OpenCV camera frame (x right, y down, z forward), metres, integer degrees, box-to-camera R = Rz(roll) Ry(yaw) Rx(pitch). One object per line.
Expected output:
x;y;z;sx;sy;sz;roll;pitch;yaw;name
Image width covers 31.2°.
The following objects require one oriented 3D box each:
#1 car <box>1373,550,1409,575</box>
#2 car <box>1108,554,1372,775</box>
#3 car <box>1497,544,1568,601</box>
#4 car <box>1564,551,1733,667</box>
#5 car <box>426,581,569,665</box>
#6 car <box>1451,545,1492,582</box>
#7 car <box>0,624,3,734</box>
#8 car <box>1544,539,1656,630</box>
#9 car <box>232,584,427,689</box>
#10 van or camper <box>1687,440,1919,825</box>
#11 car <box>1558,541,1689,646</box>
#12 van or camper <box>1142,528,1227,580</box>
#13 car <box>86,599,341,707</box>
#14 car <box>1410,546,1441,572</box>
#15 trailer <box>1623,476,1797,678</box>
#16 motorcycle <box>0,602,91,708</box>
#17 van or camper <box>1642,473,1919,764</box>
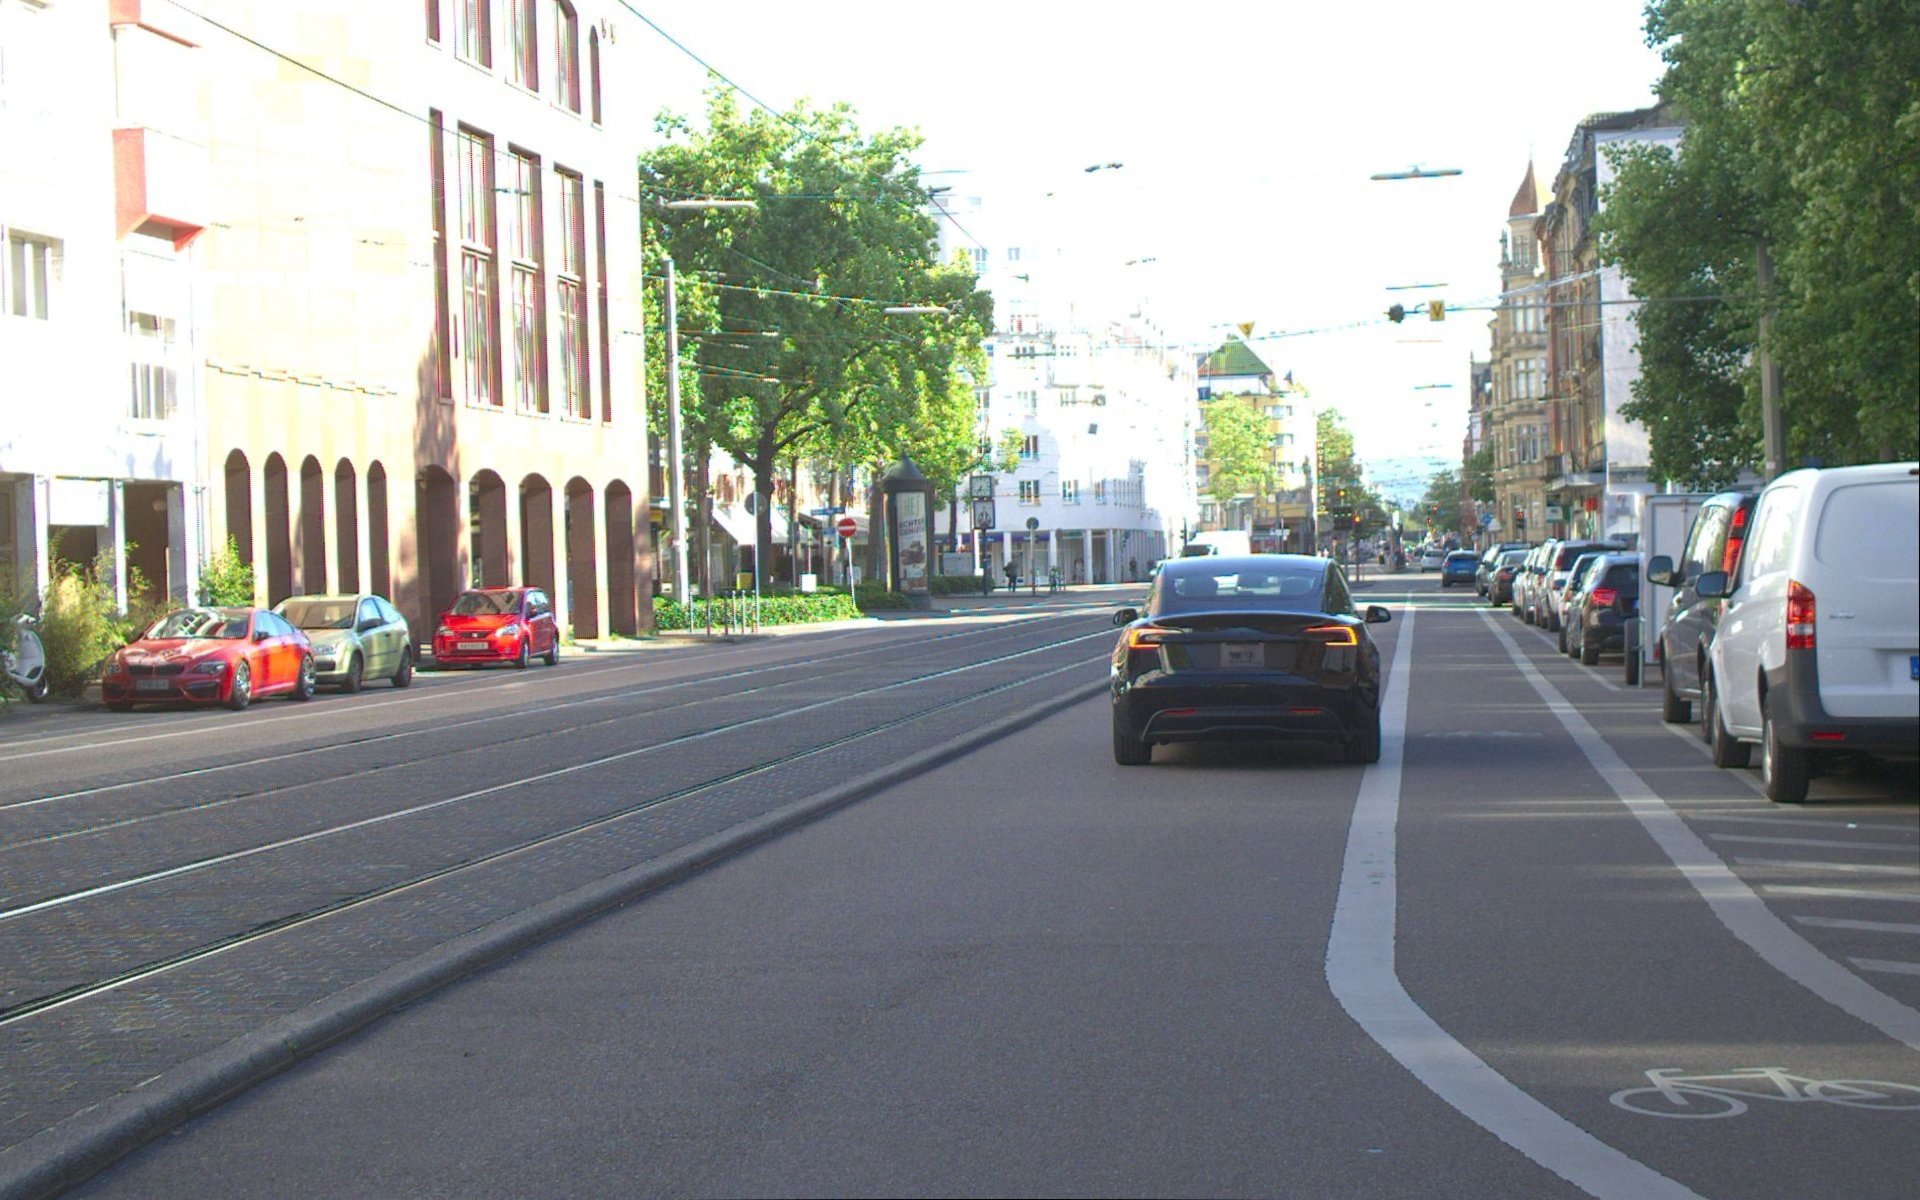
26.976;-2.347;215.199;1.994;1.520;4.000;-2;1;4;car
2.048;0.398;24.342;1.720;1.400;3.709;0;1;7;car
15.162;-0.741;91.225;1.711;1.452;4.549;0;1;8;car
9.072;0.082;45.544;1.803;1.430;4.323;1;1;6;car
-8.293;0.387;61.960;1.659;1.417;3.619;0;1;8;car
21.040;-1.511;141.296;1.594;1.428;3.685;-2;0;9;car
-11.652;0.799;35.987;1.751;1.469;4.207;-1;1;5;car
11.602;-0.314;62.504;1.714;1.585;4.064;0;1;7;car
-9.496;0.512;52.084;1.669;1.463;4.289;0;1;8;car
5.621;0.153;20.843;1.931;2.030;5.474;0;0;7;van or camper
9.796;-0.125;50.571;1.751;1.438;4.312;0;1;13;car
11.938;-2.453;182.285;2.142;2.645;6.872;-2;0;25;van or camper
-10.162;0.687;47.171;1.960;1.321;4.820;0;1;7;car
30.407;-2.698;224.457;1.846;1.587;3.999;-2;1;9;car
8.229;-0.266;37.954;1.661;2.109;3.841;0;1;9;trailer
-11.923;0.699;44.616;0.519;1.293;2.081;0;1;7;motorcycle
6.558;0.088;26.783;1.971;2.038;5.330;0;1;6;van or camper
